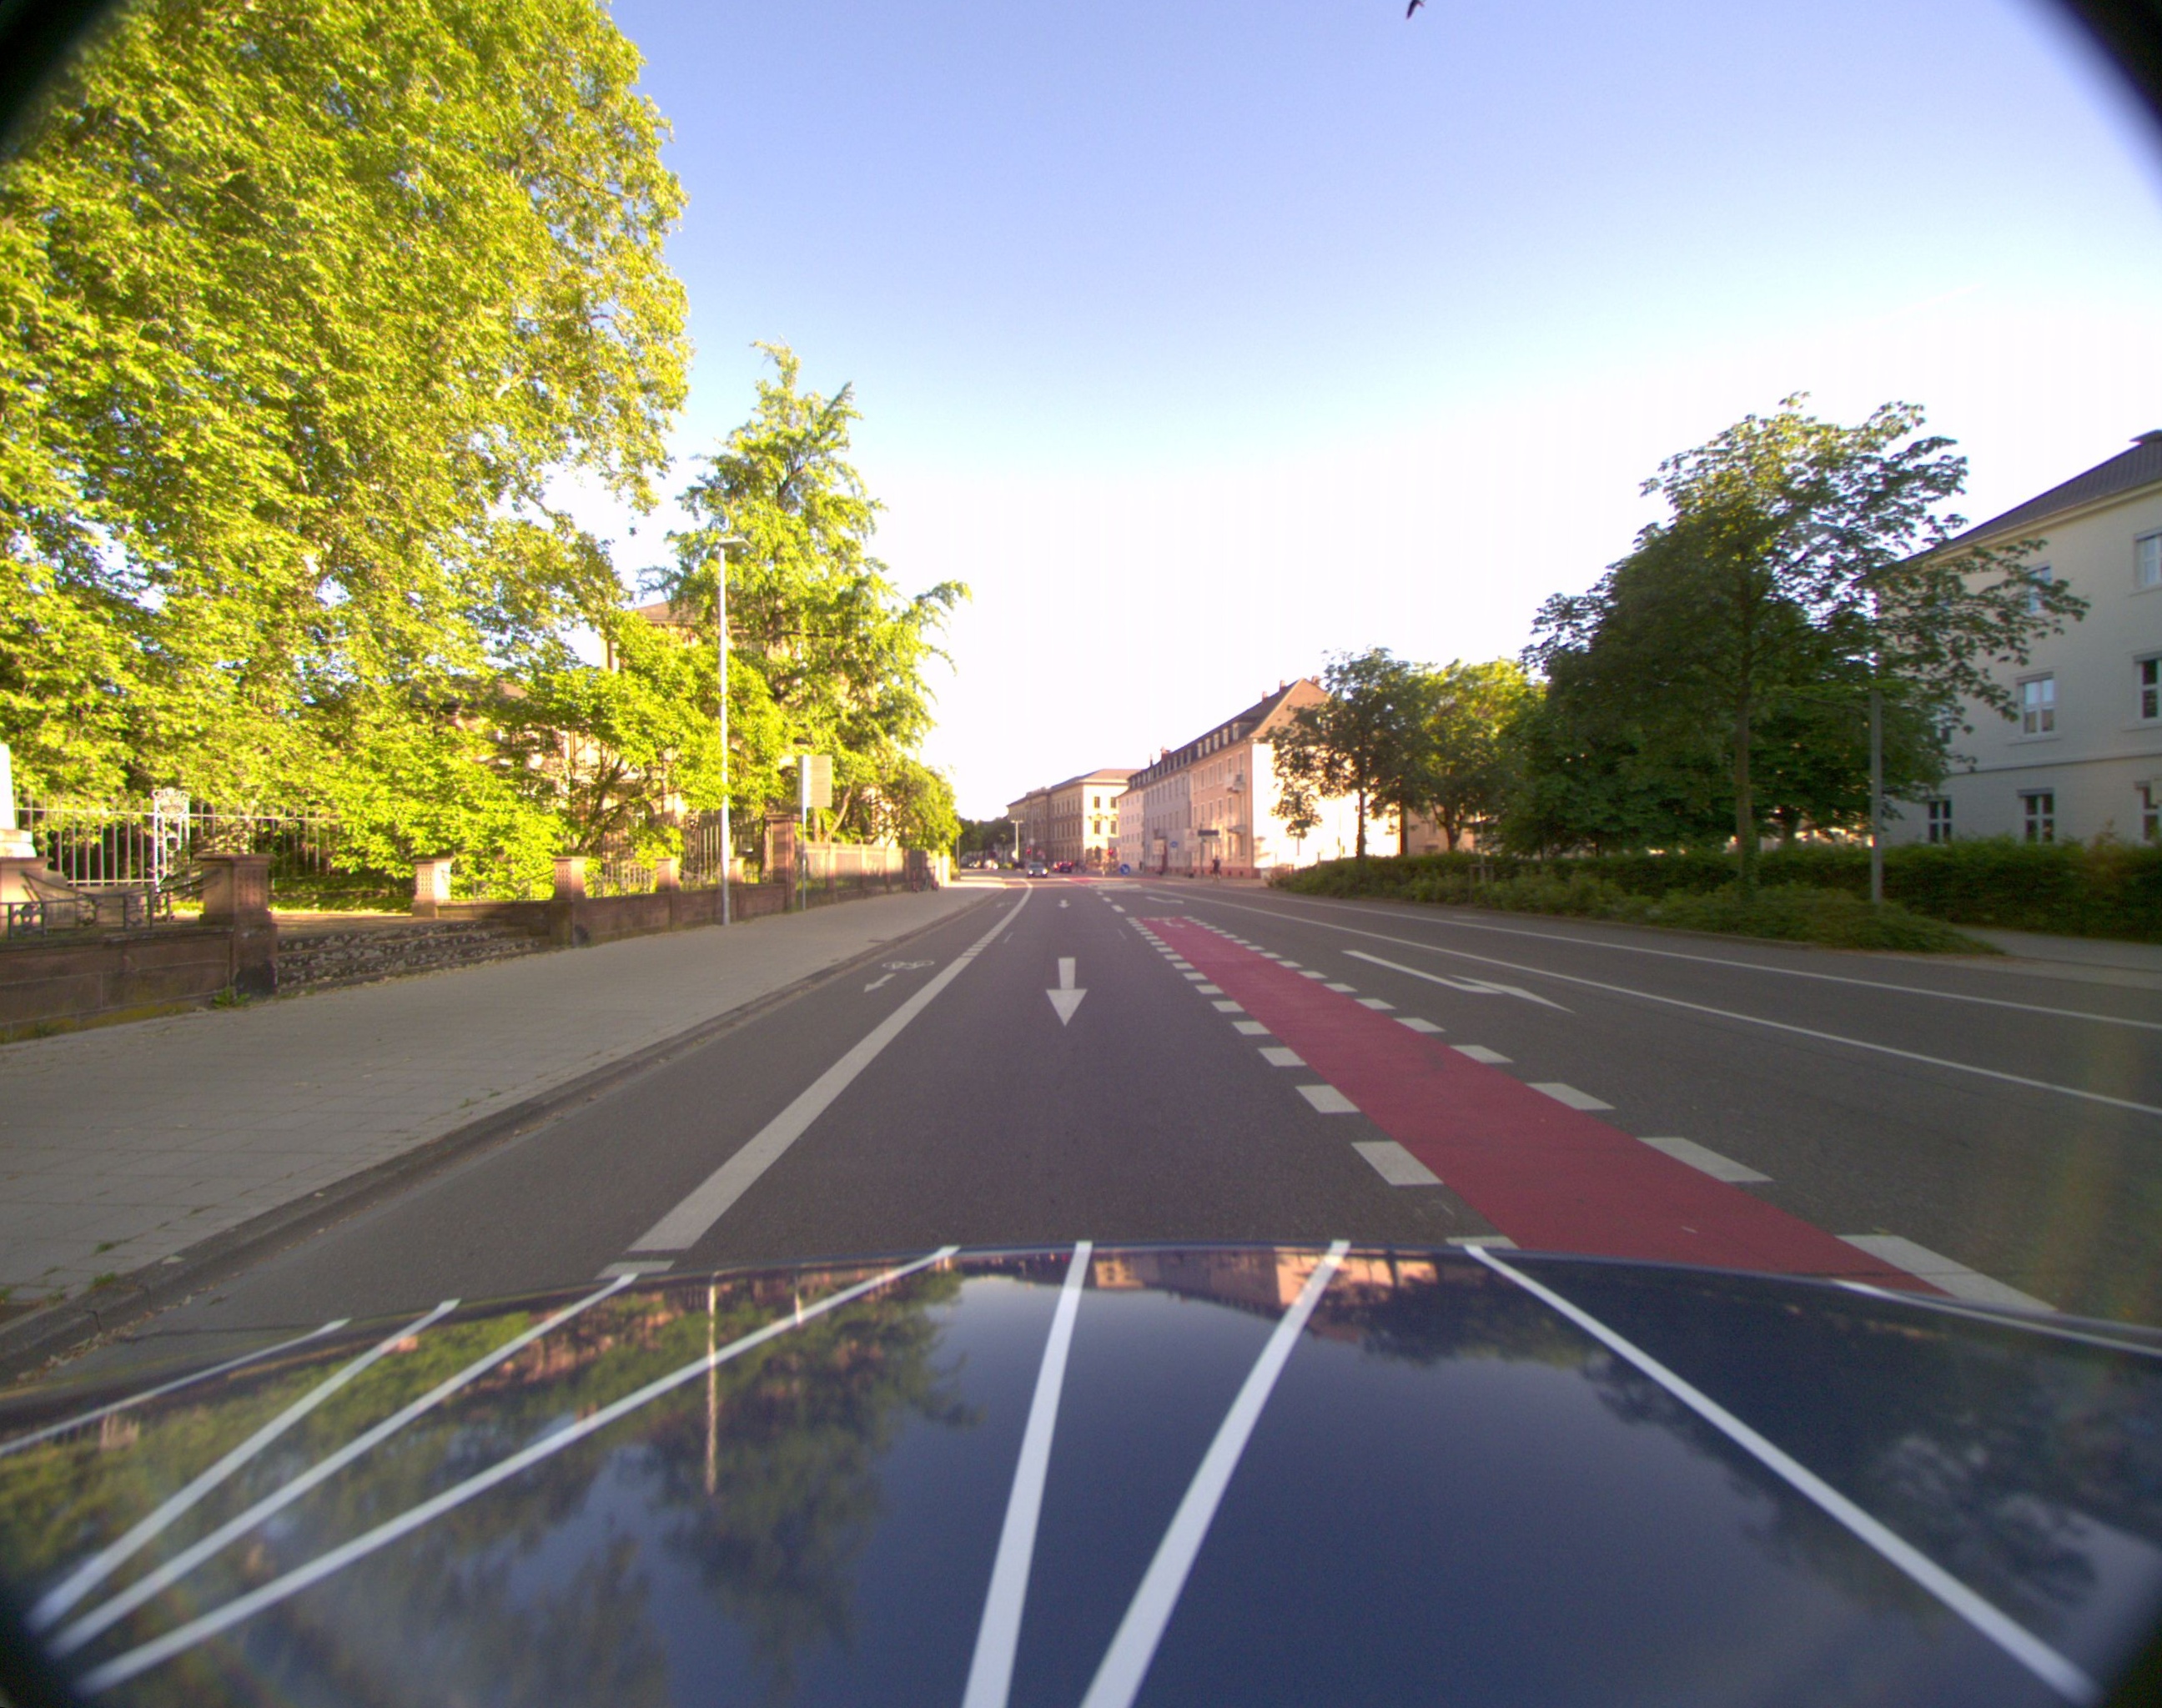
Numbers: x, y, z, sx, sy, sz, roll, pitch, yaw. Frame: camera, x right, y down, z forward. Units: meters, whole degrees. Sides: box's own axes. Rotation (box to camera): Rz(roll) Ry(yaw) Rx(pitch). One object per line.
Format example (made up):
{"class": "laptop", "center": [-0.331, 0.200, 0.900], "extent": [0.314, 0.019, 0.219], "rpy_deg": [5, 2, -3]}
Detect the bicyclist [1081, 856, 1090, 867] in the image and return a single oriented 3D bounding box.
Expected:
{"class": "bicyclist", "center": [0.608, 0.939, 98.232], "extent": [1.026, 1.481, 0.870], "rpy_deg": [0, 0, -9]}

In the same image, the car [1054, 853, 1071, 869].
{"class": "car", "center": [-2.464, 0.925, 102.174], "extent": [1.999, 2.002, 3.998], "rpy_deg": [0, 0, -5]}

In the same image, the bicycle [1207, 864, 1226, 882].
{"class": "bicycle", "center": [8.873, 1.231, 49.803], "extent": [0.697, 1.152, 2.245], "rpy_deg": [1, 0, -3]}

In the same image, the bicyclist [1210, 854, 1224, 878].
{"class": "bicyclist", "center": [8.886, 0.770, 49.611], "extent": [0.691, 1.553, 0.838], "rpy_deg": [1, 0, -3]}

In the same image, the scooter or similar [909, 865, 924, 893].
{"class": "scooter or similar", "center": [-7.557, 1.149, 34.831], "extent": [0.577, 1.246, 1.486], "rpy_deg": [0, 0, -15]}

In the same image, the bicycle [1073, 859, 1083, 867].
{"class": "bicycle", "center": [-0.422, 1.267, 107.577], "extent": [0.956, 1.216, 2.777], "rpy_deg": [0, 0, -9]}

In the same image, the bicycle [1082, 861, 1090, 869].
{"class": "bicycle", "center": [0.625, 1.403, 98.133], "extent": [0.663, 0.907, 2.861], "rpy_deg": [0, 0, -9]}

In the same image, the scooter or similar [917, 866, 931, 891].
{"class": "scooter or similar", "center": [-7.571, 1.164, 36.683], "extent": [0.576, 1.177, 1.487], "rpy_deg": [0, 0, -7]}

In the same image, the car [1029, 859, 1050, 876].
{"class": "car", "center": [-3.751, 1.204, 68.526], "extent": [1.710, 1.397, 4.262], "rpy_deg": [0, 0, -5]}

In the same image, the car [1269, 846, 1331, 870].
{"class": "car", "center": [16.558, 0.317, 57.602], "extent": [4.000, 1.652, 1.998], "rpy_deg": [-2, 1, -9]}

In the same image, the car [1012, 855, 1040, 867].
{"class": "car", "center": [-9.594, 1.147, 132.029], "extent": [4.504, 2.093, 2.004], "rpy_deg": [0, 0, 29]}

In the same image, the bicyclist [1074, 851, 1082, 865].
{"class": "bicyclist", "center": [-0.430, 0.596, 107.678], "extent": [0.956, 2.002, 1.307], "rpy_deg": [0, 0, -9]}

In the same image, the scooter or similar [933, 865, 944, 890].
{"class": "scooter or similar", "center": [-7.098, 1.154, 37.765], "extent": [0.517, 1.233, 1.521], "rpy_deg": [0, 0, -11]}

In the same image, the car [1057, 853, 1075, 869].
{"class": "car", "center": [-1.924, 0.907, 96.292], "extent": [1.999, 2.002, 3.998], "rpy_deg": [0, 0, -5]}

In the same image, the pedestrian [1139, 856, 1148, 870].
{"class": "pedestrian", "center": [8.176, 1.198, 100.067], "extent": [0.949, 1.894, 1.062], "rpy_deg": [-2, 1, -7]}
